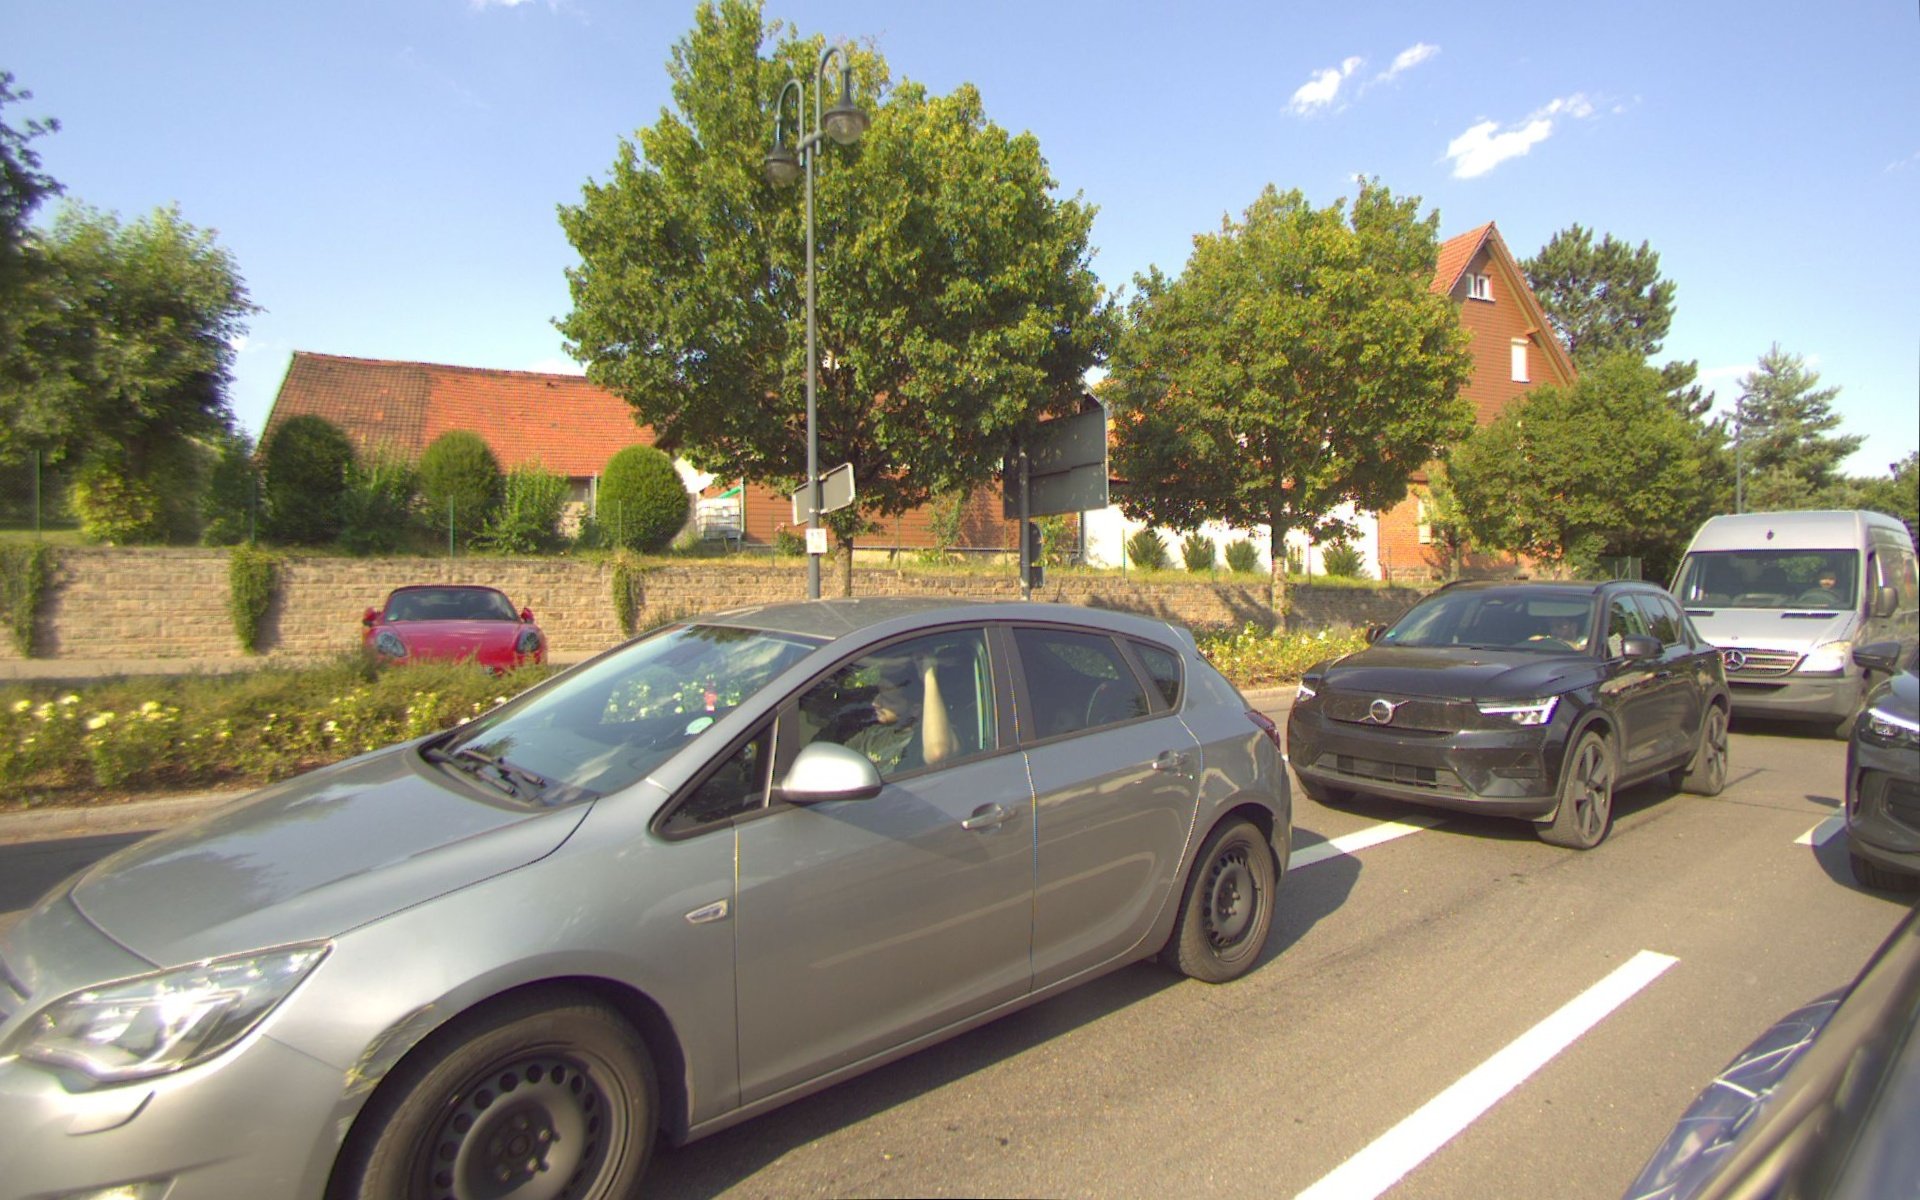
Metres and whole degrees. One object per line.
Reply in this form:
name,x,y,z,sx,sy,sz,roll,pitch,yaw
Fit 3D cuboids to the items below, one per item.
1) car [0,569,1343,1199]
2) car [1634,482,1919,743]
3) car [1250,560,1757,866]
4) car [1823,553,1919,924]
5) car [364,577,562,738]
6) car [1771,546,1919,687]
car,-0.551,0.667,3.527,4.244,1.471,1.765,0,2,-42
car,10.668,0.084,12.764,5.938,2.601,1.992,0,1,-40
car,4.168,0.568,7.457,4.242,1.629,1.844,0,2,-40
car,6.222,0.619,5.343,4.242,1.629,1.844,0,2,-40
car,-5.889,0.529,11.719,1.743,1.510,4.156,0,0,-31
car,15.069,0.208,16.678,4.242,2.055,1.844,0,1,-40
